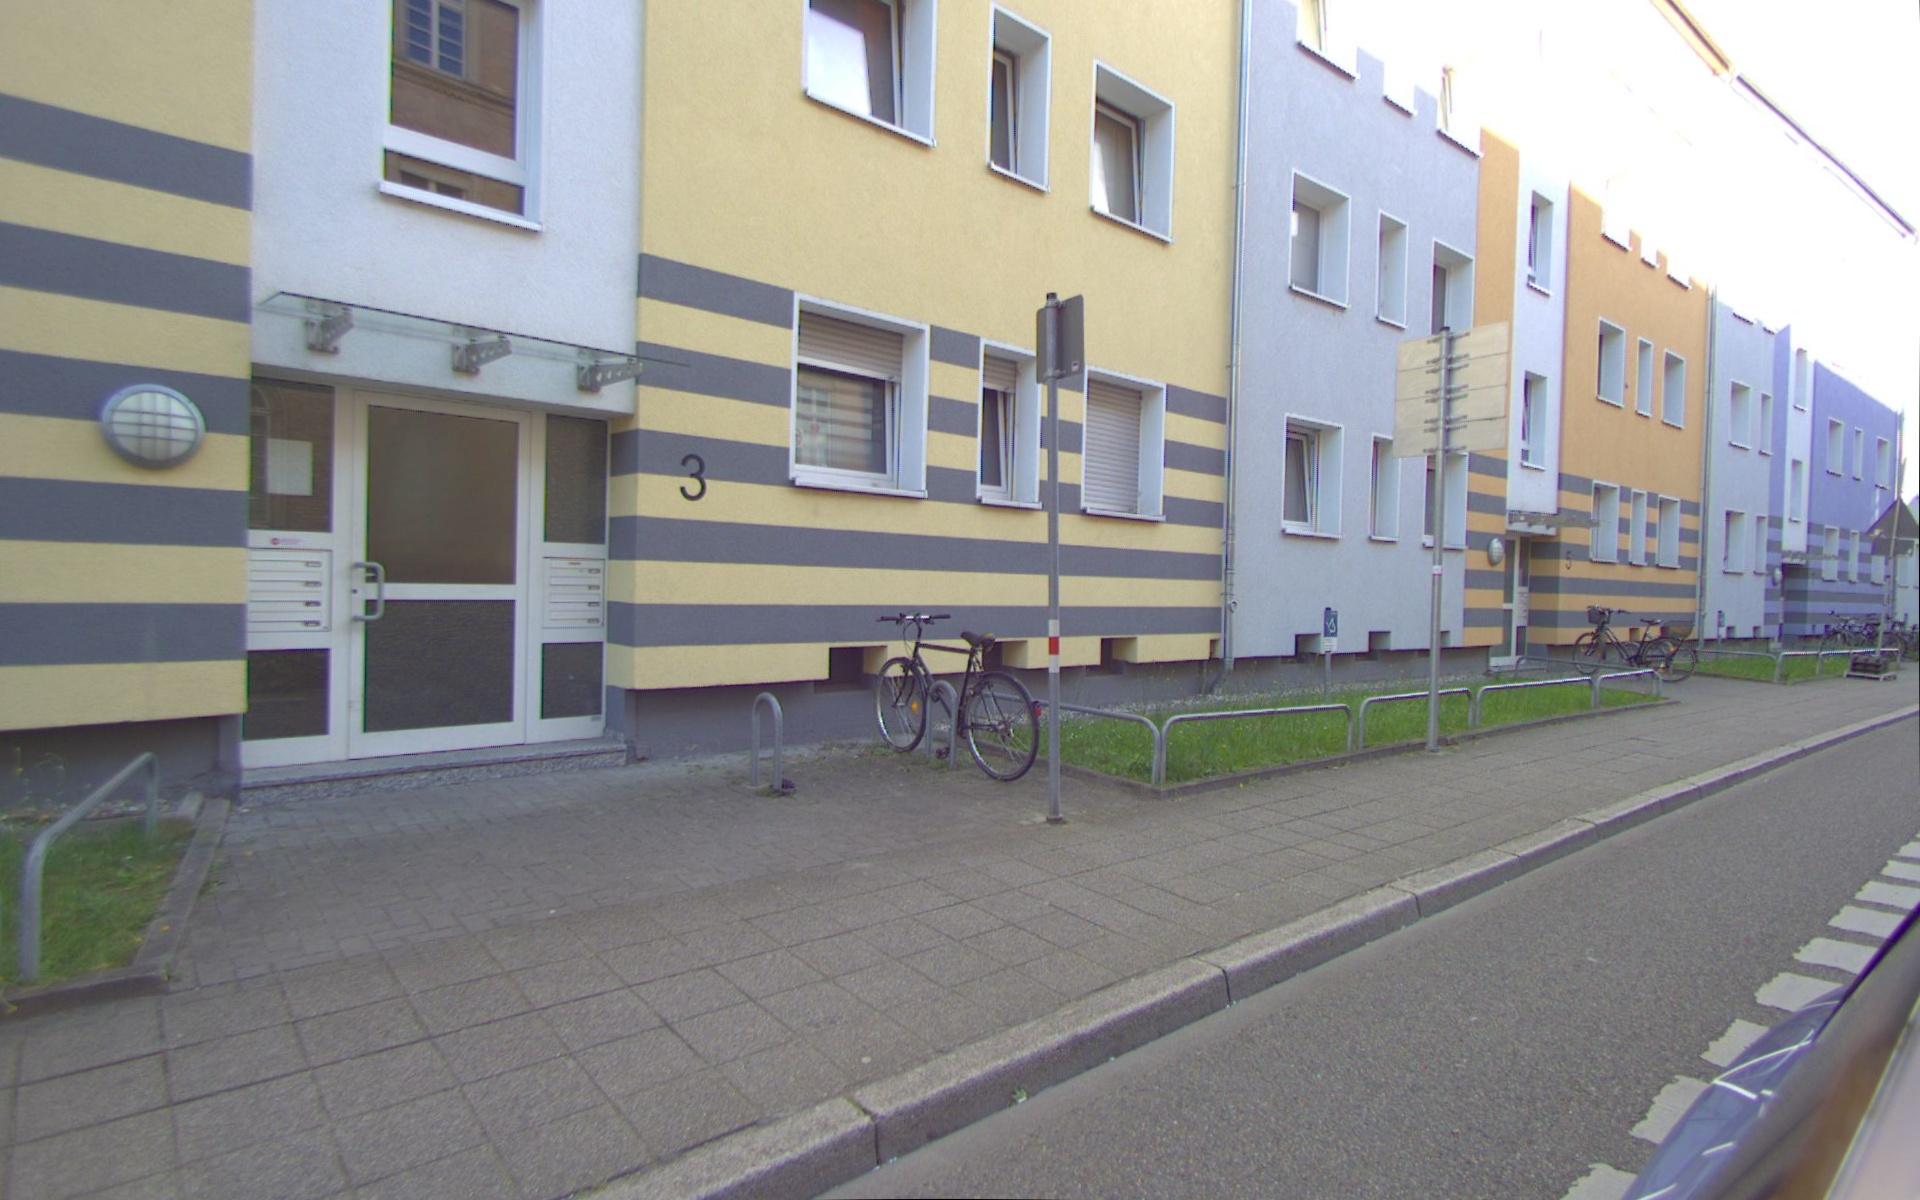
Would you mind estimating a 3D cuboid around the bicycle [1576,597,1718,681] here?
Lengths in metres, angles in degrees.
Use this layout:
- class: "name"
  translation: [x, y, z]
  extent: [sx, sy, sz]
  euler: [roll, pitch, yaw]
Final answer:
- class: "bicycle"
  translation: [10.739, 0.578, 15.865]
  extent: [0.625, 1.173, 1.709]
  euler: [1, 3, -42]

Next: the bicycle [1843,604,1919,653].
- class: "bicycle"
  translation: [23.250, 0.702, 25.262]
  extent: [0.625, 1.095, 1.711]
  euler: [1, 2, -40]

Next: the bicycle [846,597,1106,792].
- class: "bicycle"
  translation: [0.044, 0.572, 7.047]
  extent: [0.625, 1.074, 1.946]
  euler: [1, 3, -42]

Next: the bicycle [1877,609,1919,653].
- class: "bicycle"
  translation: [24.168, 0.805, 25.337]
  extent: [0.625, 1.048, 1.709]
  euler: [1, 3, -42]

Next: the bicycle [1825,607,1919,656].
- class: "bicycle"
  translation: [22.281, 0.745, 24.667]
  extent: [0.624, 1.058, 1.711]
  euler: [1, 2, -39]
